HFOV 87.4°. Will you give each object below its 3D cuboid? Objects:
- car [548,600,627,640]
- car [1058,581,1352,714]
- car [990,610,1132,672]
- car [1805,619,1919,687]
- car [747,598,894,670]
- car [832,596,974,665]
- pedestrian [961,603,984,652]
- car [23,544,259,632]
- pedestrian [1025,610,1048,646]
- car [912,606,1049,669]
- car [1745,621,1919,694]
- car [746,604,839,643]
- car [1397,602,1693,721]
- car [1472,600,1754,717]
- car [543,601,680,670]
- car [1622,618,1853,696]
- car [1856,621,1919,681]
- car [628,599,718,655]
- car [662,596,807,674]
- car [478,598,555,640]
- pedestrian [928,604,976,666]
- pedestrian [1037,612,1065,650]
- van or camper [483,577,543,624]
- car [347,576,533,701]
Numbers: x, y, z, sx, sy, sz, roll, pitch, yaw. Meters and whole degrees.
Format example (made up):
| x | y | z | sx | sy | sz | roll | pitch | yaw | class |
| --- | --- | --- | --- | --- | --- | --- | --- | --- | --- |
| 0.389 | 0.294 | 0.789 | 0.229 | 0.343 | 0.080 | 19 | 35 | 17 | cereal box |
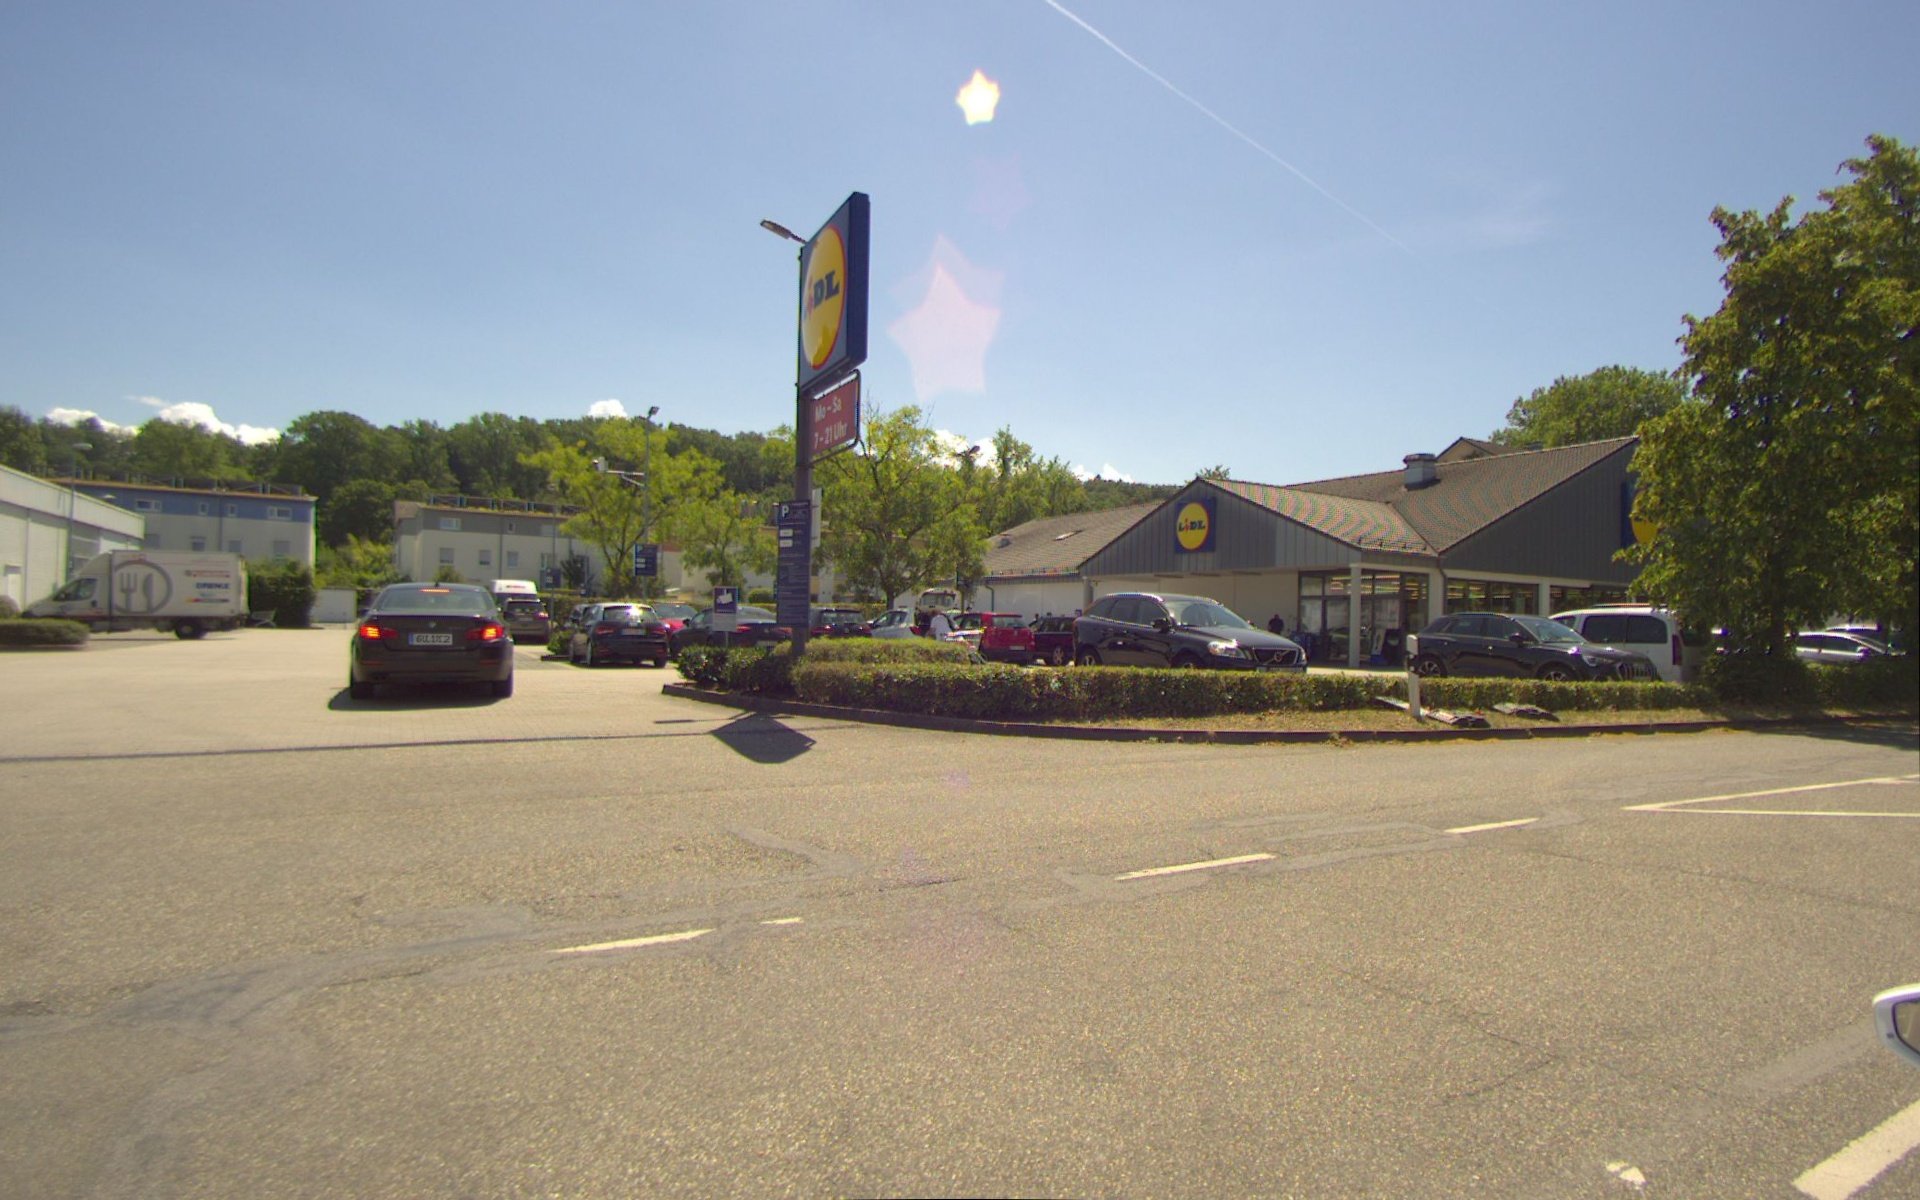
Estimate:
| x | y | z | sx | sy | sz | roll | pitch | yaw | class |
| --- | --- | --- | --- | --- | --- | --- | --- | --- | --- |
| -14.819 | 0.785 | 39.831 | 1.753 | 1.387 | 4.204 | 3 | 0 | -37 | car |
| 3.669 | 0.645 | 16.083 | 2.070 | 1.785 | 4.694 | 3 | 0 | -25 | car |
| 2.847 | 1.153 | 29.173 | 1.808 | 1.550 | 4.287 | 3 | 0 | -33 | car |
| 27.855 | 1.586 | 29.359 | 2.048 | 1.800 | 4.379 | 2 | 1 | -30 | car |
| -3.701 | 0.832 | 26.013 | 1.895 | 1.627 | 4.280 | 3 | 0 | -37 | car |
| -1.684 | 0.819 | 28.010 | 2.092 | 1.677 | 4.287 | 3 | 0 | -33 | car |
| 0.487 | 1.063 | 38.811 | 0.738 | 1.830 | 0.772 | 3 | 1 | 6 | pedestrian |
| -27.477 | -0.353 | 34.069 | 5.833 | 2.662 | 2.269 | 2 | 0 | -31 | car |
| 3.328 | 1.208 | 43.763 | 0.670 | 1.534 | 0.628 | 2 | 0 | -35 | pedestrian |
| 0.499 | 1.050 | 28.901 | 1.808 | 1.550 | 4.287 | 3 | 0 | -33 | car |
| 23.861 | 1.498 | 26.647 | 1.873 | 1.642 | 4.379 | 2 | 1 | -30 | car |
| -7.869 | 1.113 | 47.258 | 3.953 | 1.623 | 1.785 | 3 | 0 | -30 | car |
| 10.682 | 1.041 | 18.754 | 2.074 | 1.869 | 4.374 | 3 | 0 | -23 | car |
| 12.949 | 1.078 | 20.200 | 1.884 | 2.006 | 4.333 | 3 | 0 | -31 | car |
| -8.181 | 0.782 | 23.351 | 1.753 | 1.387 | 4.204 | 3 | 0 | -37 | car |
| 18.875 | 1.321 | 24.561 | 1.911 | 1.545 | 4.009 | 2 | 1 | -30 | car |
| 31.178 | 1.694 | 31.313 | 2.048 | 1.800 | 4.379 | 2 | 1 | -30 | car |
| -8.645 | 0.777 | 30.097 | 1.633 | 1.506 | 3.586 | 2 | 0 | -32 | car |
| -5.473 | 0.786 | 23.980 | 1.753 | 1.610 | 4.204 | 3 | 0 | -37 | car |
| -16.876 | 0.694 | 38.123 | 1.753 | 1.387 | 4.204 | 3 | 0 | -37 | car |
| -0.192 | 0.891 | 25.754 | 0.876 | 1.503 | 0.806 | 2 | 0 | 35 | pedestrian |
| 3.779 | 1.277 | 41.833 | 0.788 | 1.534 | 0.795 | 2 | 0 | 44 | pedestrian |
| -20.080 | -0.014 | 45.018 | 1.987 | 1.962 | 4.341 | 3 | 0 | -30 | van or camper |
| -7.207 | 0.437 | 13.969 | 1.915 | 1.419 | 4.654 | 3 | 0 | -28 | car |
